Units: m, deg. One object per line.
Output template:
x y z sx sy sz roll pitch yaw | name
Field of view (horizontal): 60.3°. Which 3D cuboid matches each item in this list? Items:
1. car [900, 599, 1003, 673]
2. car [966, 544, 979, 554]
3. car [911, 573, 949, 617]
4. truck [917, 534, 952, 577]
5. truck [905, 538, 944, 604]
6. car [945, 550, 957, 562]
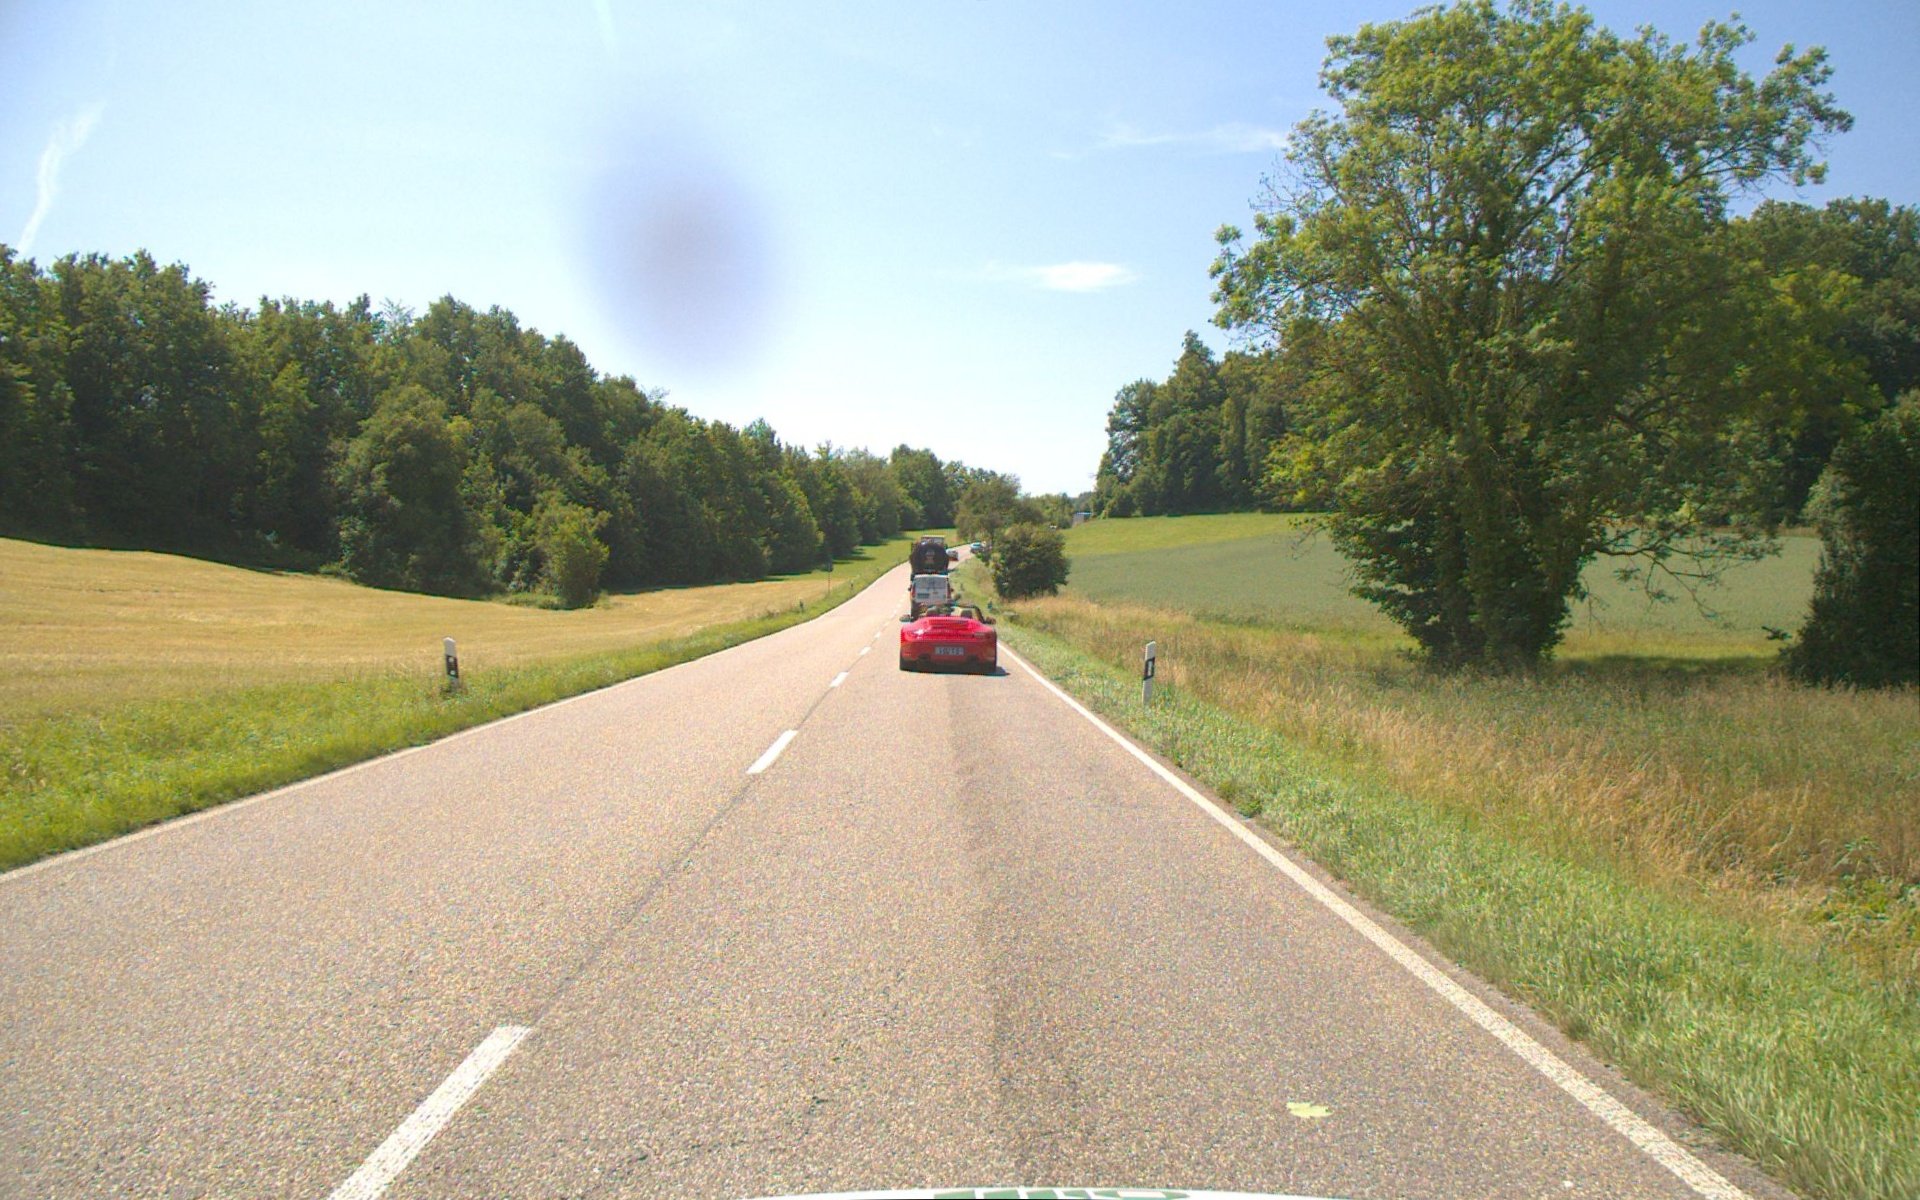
-0.204 0.654 32.094 1.844 1.277 4.008 1 0 -1 | car
2.013 -8.087 261.448 1.662 1.522 3.715 -2 2 5 | car
-1.385 -0.237 76.692 1.644 1.934 4.009 -2 0 0 | car
-3.054 -5.391 195.916 3.651 4.740 12.028 -2 3 -2 | truck
-2.477 -2.114 113.105 2.355 4.119 12.548 -2 2 -2 | truck
-1.256 -6.188 233.987 1.663 1.522 3.712 -2 3 -1 | car
